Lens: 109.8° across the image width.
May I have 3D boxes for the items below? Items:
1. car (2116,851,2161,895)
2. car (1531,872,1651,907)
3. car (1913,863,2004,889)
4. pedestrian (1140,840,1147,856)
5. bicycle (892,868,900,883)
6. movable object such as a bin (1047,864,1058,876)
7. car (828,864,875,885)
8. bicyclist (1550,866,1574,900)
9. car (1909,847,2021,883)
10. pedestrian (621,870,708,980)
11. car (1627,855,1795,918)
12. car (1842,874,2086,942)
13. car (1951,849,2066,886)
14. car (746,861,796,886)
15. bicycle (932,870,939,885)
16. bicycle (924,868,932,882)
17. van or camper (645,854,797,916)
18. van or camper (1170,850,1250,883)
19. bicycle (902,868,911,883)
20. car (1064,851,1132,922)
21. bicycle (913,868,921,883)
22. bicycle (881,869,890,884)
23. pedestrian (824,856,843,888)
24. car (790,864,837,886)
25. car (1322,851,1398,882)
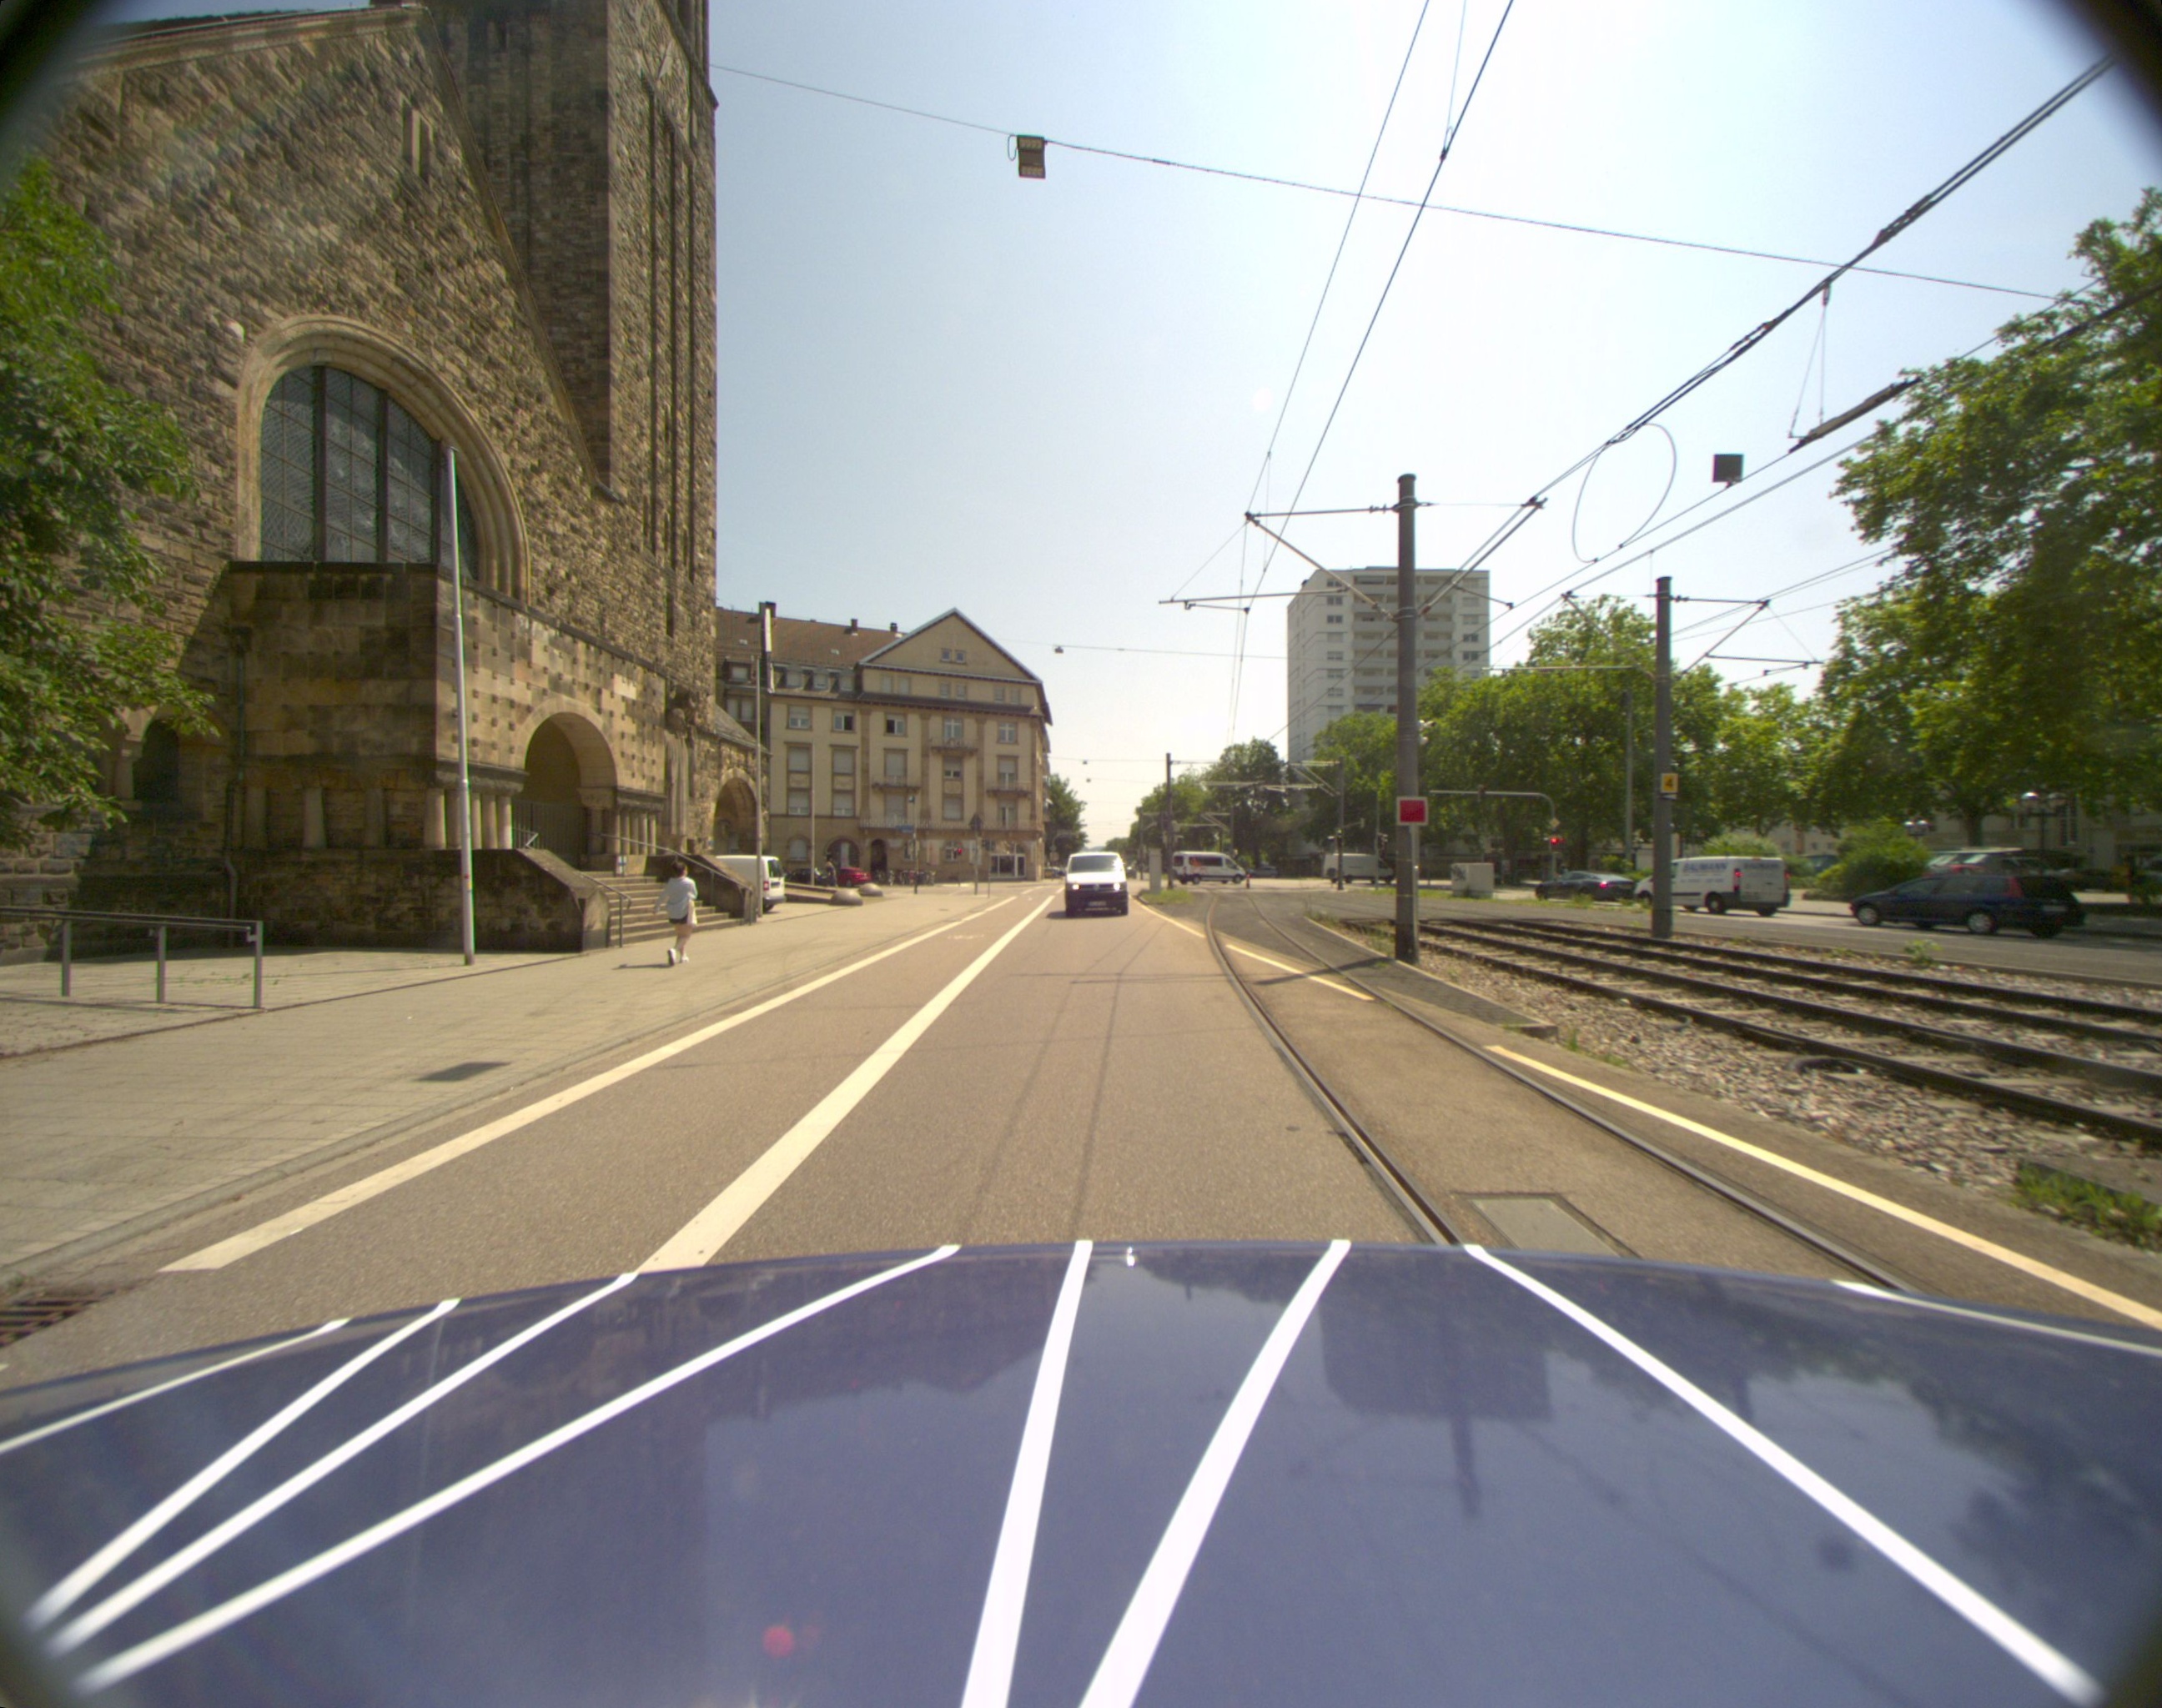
[{"bbox_3d":[69.162,1.147,47.610,5.706,2.644,2.108,-1,0,0],"label":"car"},{"bbox_3d":[21.606,1.475,32.438,1.952,1.351,4.629,0,-1,-1],"label":"car"},{"bbox_3d":[48.390,1.210,41.931,3.342,1.375,1.472,-1,0,-1],"label":"car"},{"bbox_3d":[6.864,-0.657,83.116,0.679,1.695,0.554,-1,0,3],"label":"pedestrian"},{"bbox_3d":[-14.841,1.746,60.947,0.565,1.144,1.803,-1,1,-10],"label":"bicycle"},{"bbox_3d":[-3.572,2.025,95.072,1.214,1.427,1.008,-1,0,-4],"label":"movable object such as a bin"},{"bbox_3d":[-17.677,1.576,58.595,3.218,1.471,1.619,1,2,26],"label":"car"},{"bbox_3d":[24.493,1.477,38.686,0.640,1.675,0.869,-1,0,-3],"label":"bicyclist"},{"bbox_3d":[52.550,0.639,45.291,1.998,2.070,4.000,0,0,0],"label":"car"},{"bbox_3d":[-6.486,1.073,11.882,0.795,1.640,0.967,-1,0,2],"label":"pedestrian"},{"bbox_3d":[21.544,1.058,26.307,1.781,1.979,4.805,0,-1,-1],"label":"car"},{"bbox_3d":[21.532,1.260,18.788,1.600,1.411,3.782,2,-1,0],"label":"car"},{"bbox_3d":[55.161,0.772,45.297,1.998,2.070,4.000,0,0,0],"label":"car"},{"bbox_3d":[-22.986,1.426,56.335,3.218,1.656,1.619,1,2,26],"label":"car"},{"bbox_3d":[-11.797,1.910,61.614,0.565,1.144,2.058,-1,1,-10],"label":"bicycle"},{"bbox_3d":[-12.613,1.734,62.736,0.565,1.144,1.803,-1,1,-10],"label":"bicycle"},{"bbox_3d":[-11.477,0.973,24.426,3.997,1.814,1.803,1,0,-1],"label":"van or camper"},{"bbox_3d":[10.031,0.959,59.071,5.909,2.446,2.070,0,-1,-23],"label":"van or camper"},{"bbox_3d":[-14.188,1.746,61.823,0.565,1.144,1.803,-1,1,-10],"label":"bicycle"},{"bbox_3d":[0.467,0.912,23.283,1.852,1.942,4.943,0,0,0],"label":"car"},{"bbox_3d":[-13.474,1.743,62.448,0.565,1.144,1.803,-1,1,-10],"label":"bicycle"},{"bbox_3d":[-15.463,1.749,60.093,0.566,1.144,1.802,-1,1,-19],"label":"bicycle"},{"bbox_3d":[-13.988,1.013,42.953,0.744,1.811,0.834,-1,0,8],"label":"pedestrian"},{"bbox_3d":[-20.318,1.580,57.724,3.218,1.471,1.619,1,2,26],"label":"car"},{"bbox_3d":[24.417,1.086,66.512,6.641,2.621,2.073,0,0,-23],"label":"car"}]
